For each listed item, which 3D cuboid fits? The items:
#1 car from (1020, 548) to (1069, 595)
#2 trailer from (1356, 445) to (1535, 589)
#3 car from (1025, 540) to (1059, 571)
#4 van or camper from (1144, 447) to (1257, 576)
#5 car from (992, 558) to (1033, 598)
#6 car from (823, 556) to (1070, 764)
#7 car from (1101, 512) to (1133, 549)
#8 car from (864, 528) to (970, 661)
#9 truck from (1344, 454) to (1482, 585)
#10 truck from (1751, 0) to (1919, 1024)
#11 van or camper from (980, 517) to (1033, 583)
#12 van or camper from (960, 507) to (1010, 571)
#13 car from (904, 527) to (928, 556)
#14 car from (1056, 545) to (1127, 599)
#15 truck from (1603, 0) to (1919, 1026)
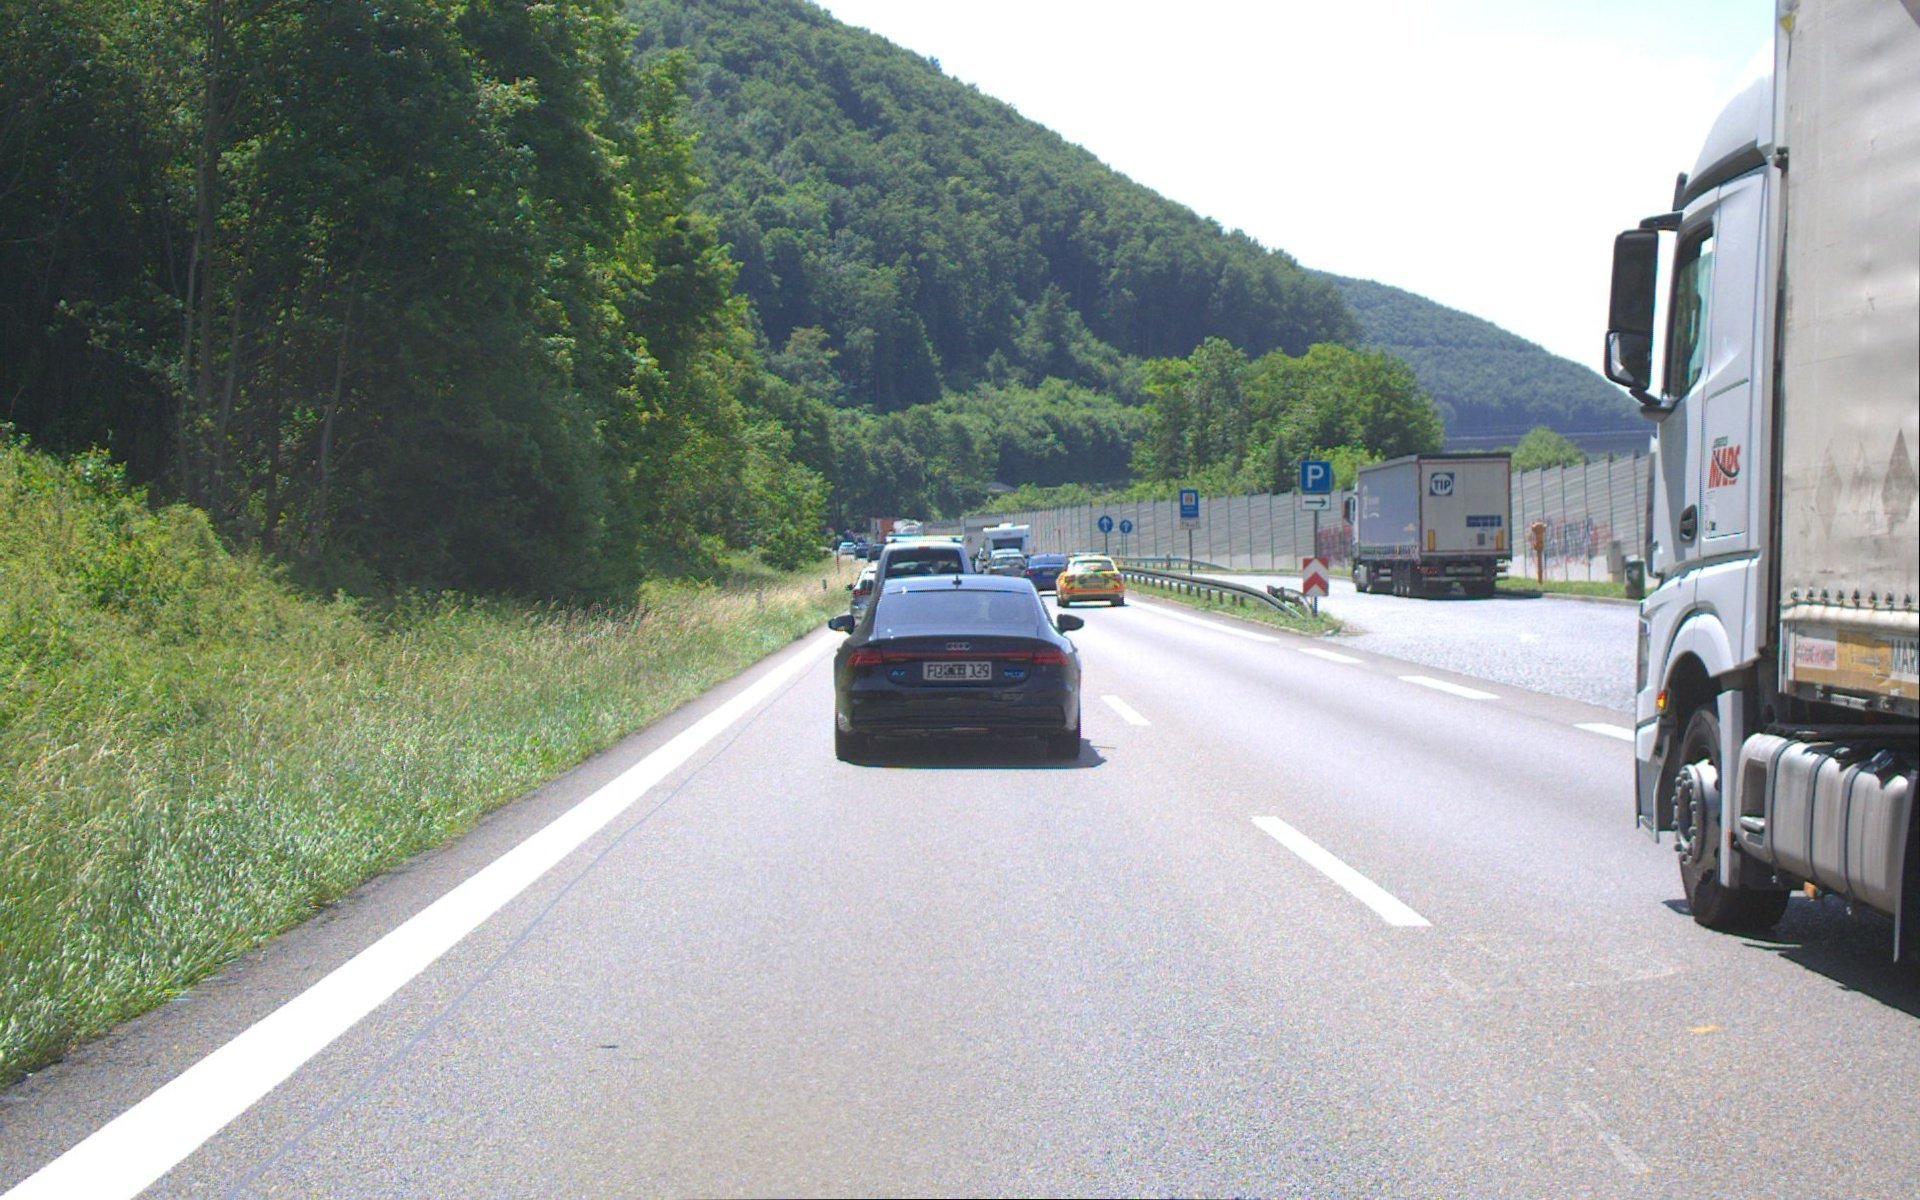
[{"bbox_3d":[2.877,-0.950,117.716,1.530,1.520,3.597,2,0,0],"label":"car"},{"bbox_3d":[13.874,-2.344,99.254,3.411,3.887,11.152,0,1,-1],"label":"trailer"},{"bbox_3d":[5.383,-2.935,226.372,1.993,2.007,4.000,0,1,-2],"label":"car"},{"bbox_3d":[7.557,-2.726,108.707,2.794,3.828,6.167,2,0,-2],"label":"van or camper"},{"bbox_3d":[2.088,-0.867,138.567,1.530,1.520,3.597,2,0,0],"label":"car"},{"bbox_3d":[-0.096,0.417,26.971,1.812,1.509,3.514,0,1,0],"label":"car"},{"bbox_3d":[8.596,-3.789,188.308,1.576,2.007,3.428,0,1,0],"label":"car"},{"bbox_3d":[-0.686,-0.098,54.194,1.521,1.961,3.514,3,0,-1],"label":"car"},{"bbox_3d":[13.814,-2.441,105.312,3.411,3.887,5.388,0,1,-1],"label":"truck"},{"bbox_3d":[4.451,-0.676,6.056,2.726,4.054,13.742,1,0,-1],"label":"truck"},{"bbox_3d":[2.305,-2.456,171.472,2.429,3.144,5.203,2,0,0],"label":"van or camper"},{"bbox_3d":[1.565,-3.847,219.073,2.794,3.894,6.167,2,0,-2],"label":"van or camper"},{"bbox_3d":[-3.159,-4.158,245.442,1.687,2.007,4.000,0,1,-1],"label":"car"},{"bbox_3d":[3.790,-0.815,99.587,1.879,1.493,4.000,0,1,0],"label":"car"},{"bbox_3d":[4.366,-0.674,12.861,2.719,4.054,5.754,1,0,-1],"label":"truck"}]
